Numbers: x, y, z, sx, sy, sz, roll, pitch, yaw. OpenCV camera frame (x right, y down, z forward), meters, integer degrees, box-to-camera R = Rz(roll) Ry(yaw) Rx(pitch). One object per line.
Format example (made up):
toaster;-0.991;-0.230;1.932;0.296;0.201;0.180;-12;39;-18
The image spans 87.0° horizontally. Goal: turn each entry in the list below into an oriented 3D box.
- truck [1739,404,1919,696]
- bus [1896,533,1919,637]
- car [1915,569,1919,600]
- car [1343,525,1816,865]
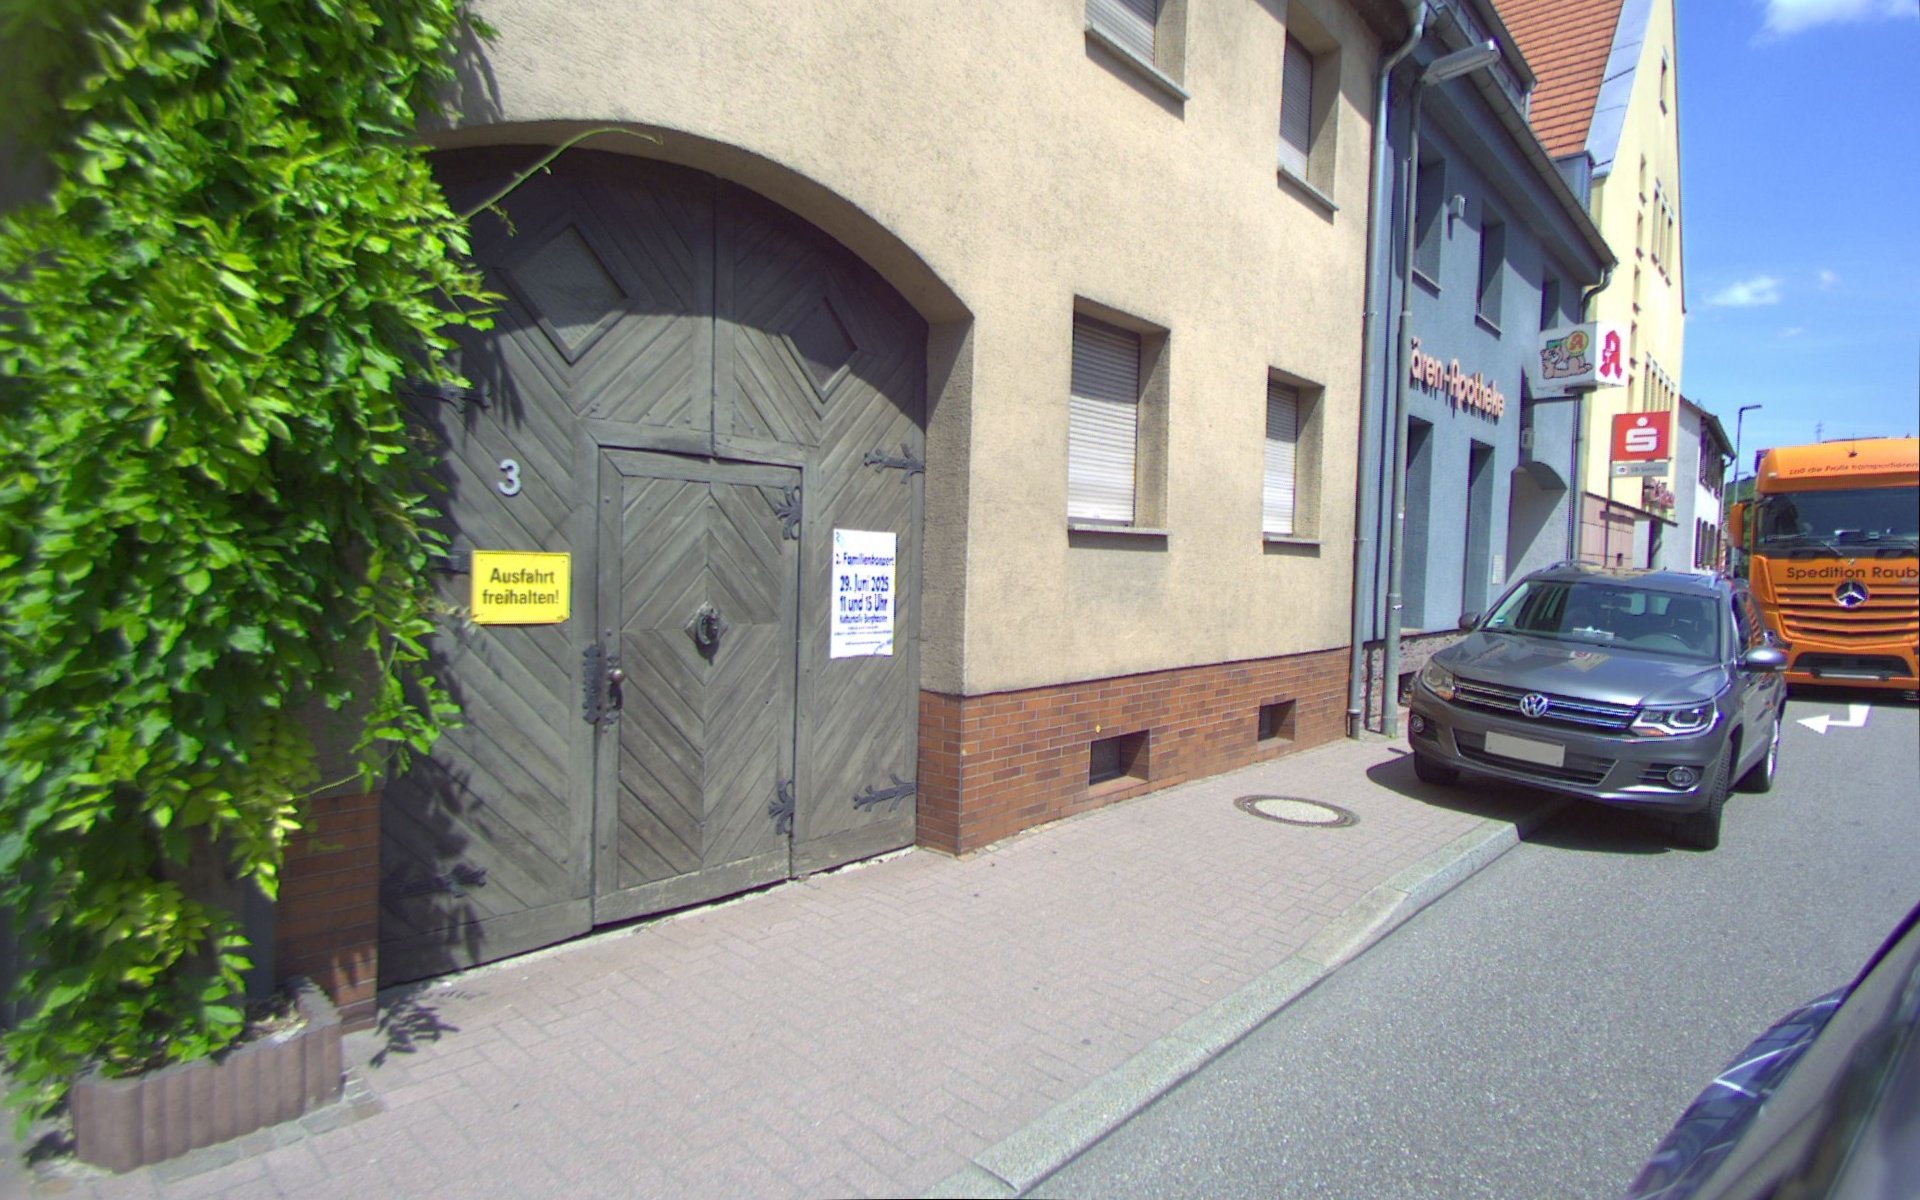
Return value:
truck;16.050;-0.652;17.844;2.609;3.995;9.832;0;0;44
bus;28.847;-0.418;27.866;2.846;3.244;18.770;2;1;38
car;46.837;-0.685;48.188;1.595;1.472;3.399;6;5;38
car;4.724;0.437;7.459;1.996;1.729;4.035;7;5;45
